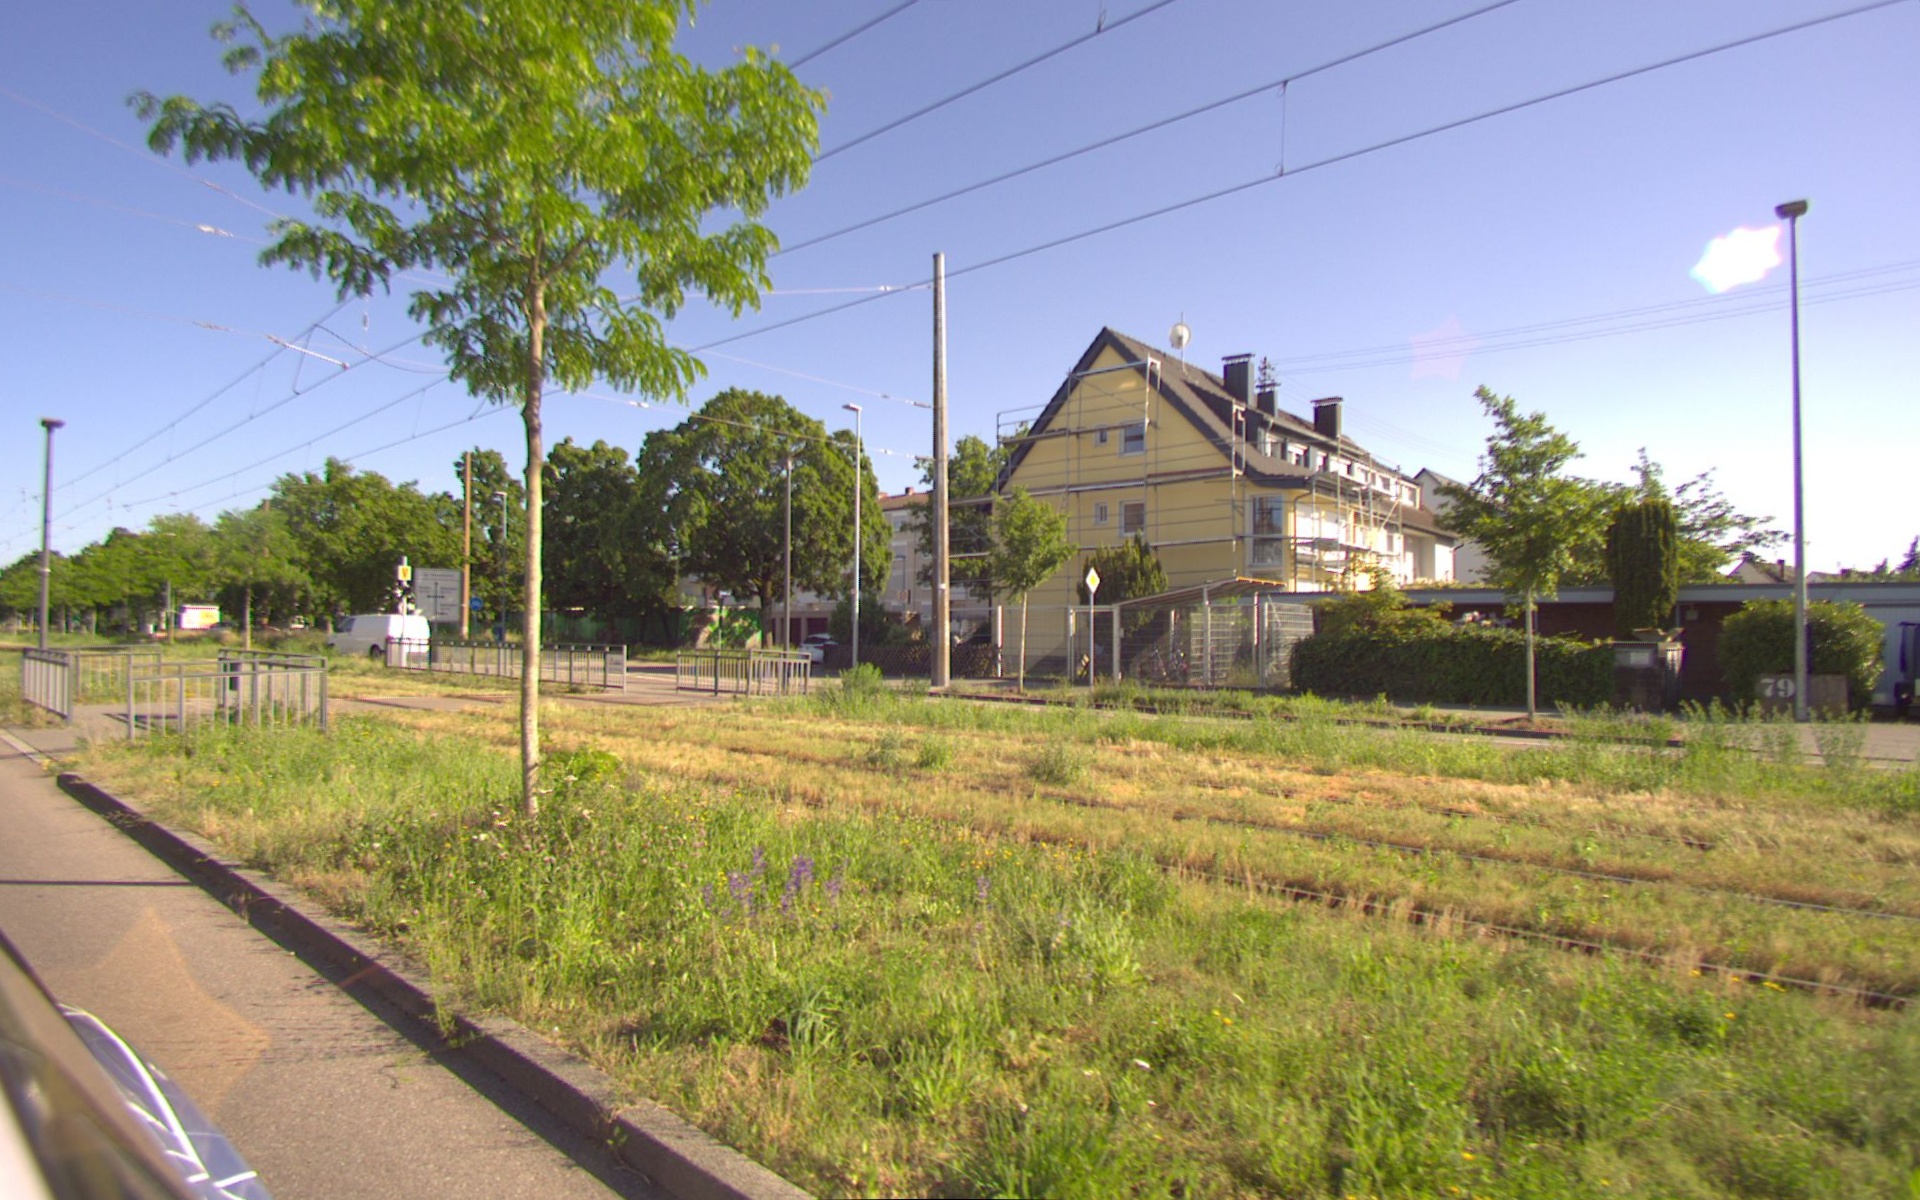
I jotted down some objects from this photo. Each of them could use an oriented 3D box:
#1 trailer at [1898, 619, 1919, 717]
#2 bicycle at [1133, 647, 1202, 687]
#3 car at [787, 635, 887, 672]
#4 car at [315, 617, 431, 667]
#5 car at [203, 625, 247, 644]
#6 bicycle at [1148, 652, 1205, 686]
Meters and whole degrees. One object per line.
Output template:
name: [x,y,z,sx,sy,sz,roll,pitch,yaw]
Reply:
trailer: [17.663,1.176,17.842,1.397,1.660,2.885,-1,-2,38]
bicycle: [5.287,1.700,25.880,1.748,0.949,0.419,-1,0,42]
car: [-5.125,2.212,42.613,1.852,1.414,3.946,2,-1,40]
car: [-24.127,1.699,41.588,4.678,1.929,1.886,-1,-2,27]
car: [-78.114,3.659,107.624,1.868,1.925,4.820,0,-2,-9]
bicycle: [5.658,1.794,26.475,1.508,0.827,0.307,-1,0,42]
